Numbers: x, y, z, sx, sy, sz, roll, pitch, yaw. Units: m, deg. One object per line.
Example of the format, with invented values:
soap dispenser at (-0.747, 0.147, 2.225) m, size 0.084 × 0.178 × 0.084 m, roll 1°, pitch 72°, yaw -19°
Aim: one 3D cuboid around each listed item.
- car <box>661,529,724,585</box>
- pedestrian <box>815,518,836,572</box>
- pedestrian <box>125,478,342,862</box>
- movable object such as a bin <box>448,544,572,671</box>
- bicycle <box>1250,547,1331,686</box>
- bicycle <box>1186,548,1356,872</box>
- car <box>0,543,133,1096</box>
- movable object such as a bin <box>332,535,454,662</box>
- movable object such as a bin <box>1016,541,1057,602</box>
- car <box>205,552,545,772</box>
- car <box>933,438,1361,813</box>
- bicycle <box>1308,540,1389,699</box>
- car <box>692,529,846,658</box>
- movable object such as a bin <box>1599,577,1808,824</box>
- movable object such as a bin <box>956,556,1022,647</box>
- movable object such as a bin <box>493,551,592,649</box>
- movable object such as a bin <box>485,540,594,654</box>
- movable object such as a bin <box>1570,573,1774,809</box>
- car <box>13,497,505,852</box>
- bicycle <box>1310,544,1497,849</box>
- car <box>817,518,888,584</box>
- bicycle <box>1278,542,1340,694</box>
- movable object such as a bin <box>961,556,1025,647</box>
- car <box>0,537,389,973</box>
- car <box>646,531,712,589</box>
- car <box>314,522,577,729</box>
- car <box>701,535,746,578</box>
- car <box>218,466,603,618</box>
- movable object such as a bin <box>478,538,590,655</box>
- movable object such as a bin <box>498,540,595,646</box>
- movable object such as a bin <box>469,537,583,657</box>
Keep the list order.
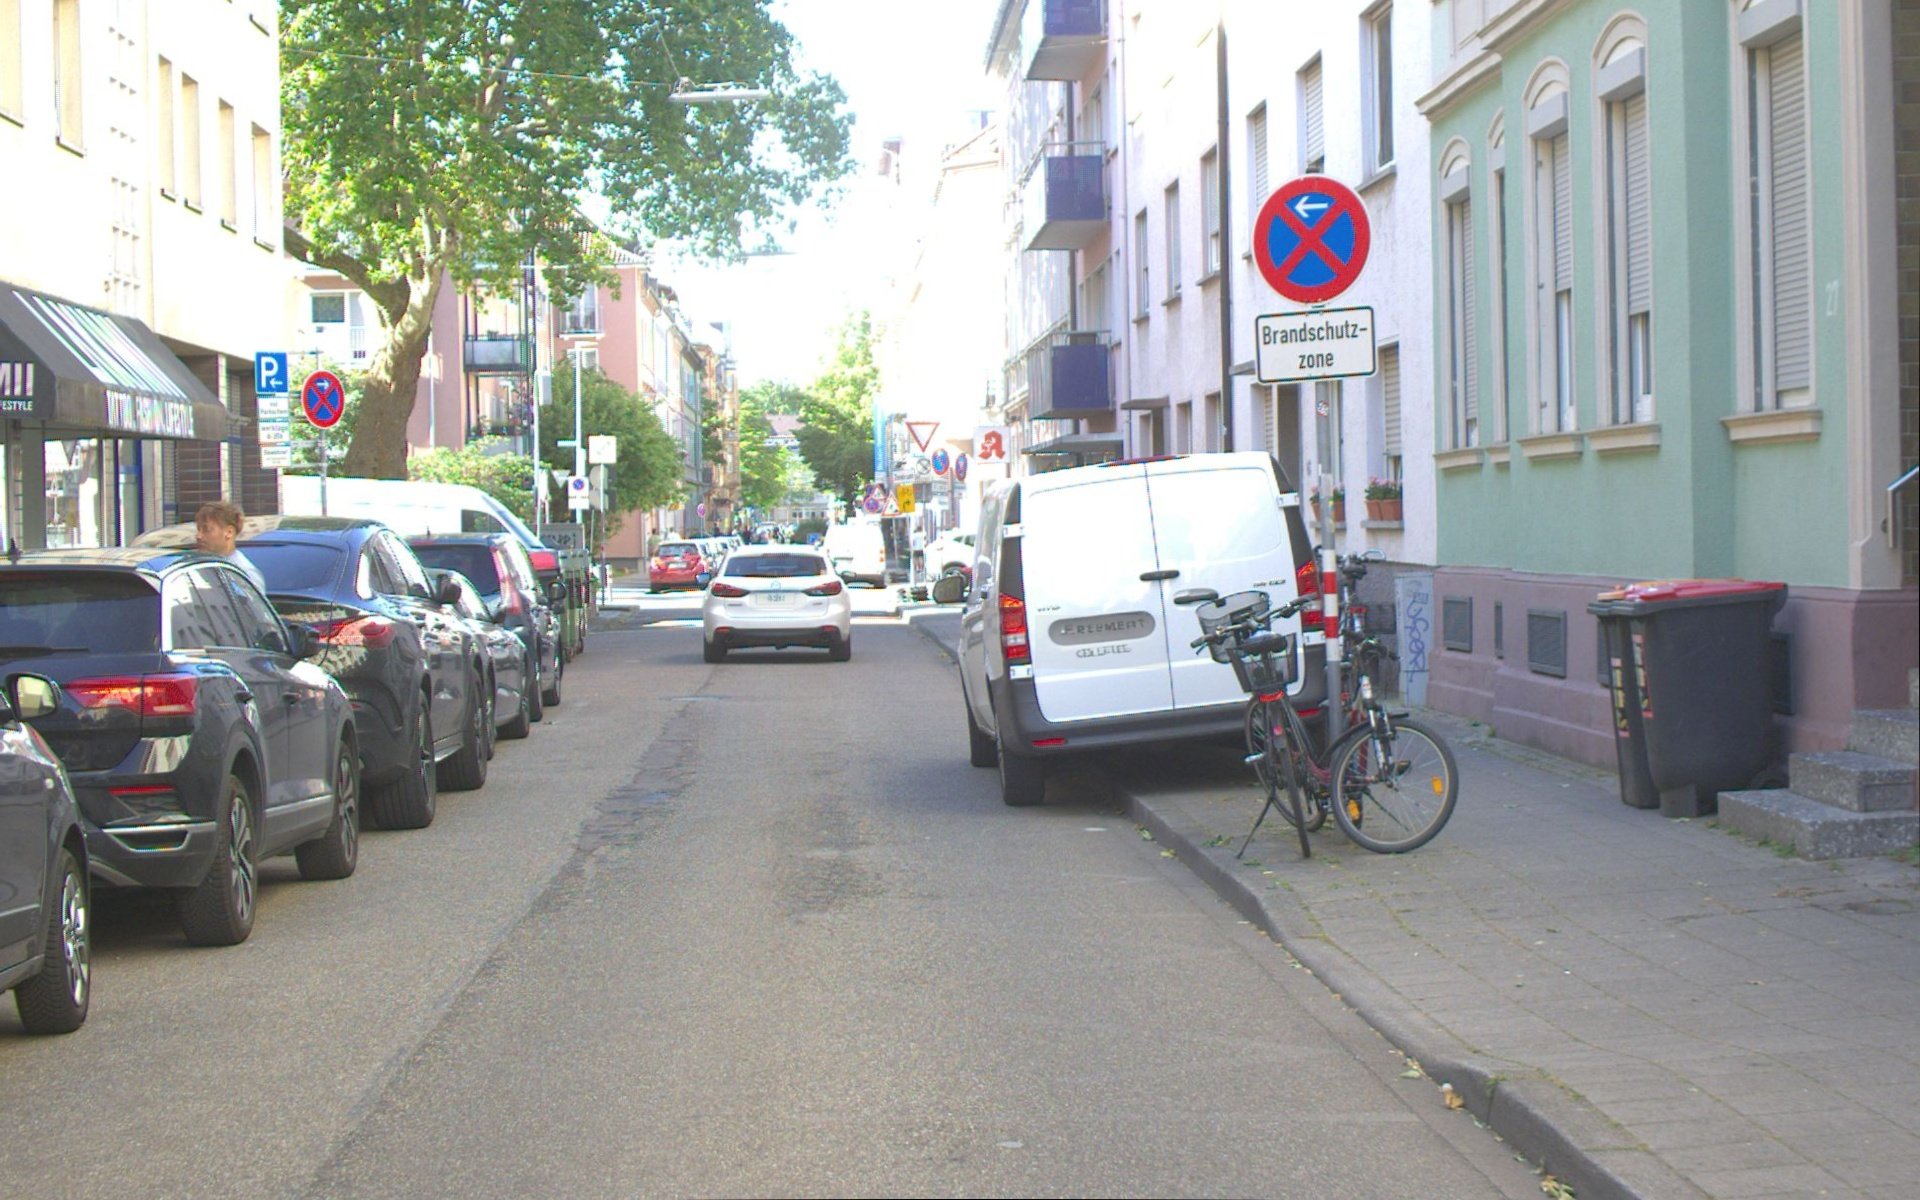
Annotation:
car at (-8.250, -1.335, 106.289) m, size 1.720 × 1.677 × 3.726 m, roll -1°, pitch 1°, yaw -2°
pedestrian at (-5.235, -2.146, 134.005) m, size 0.771 × 2.111 × 0.835 m, roll -1°, pitch 0°, yaw -1°
pedestrian at (-3.568, 0.331, 16.953) m, size 0.866 × 1.830 × 0.883 m, roll -1°, pitch 0°, yaw -2°
movable object such as a bin at (-5.395, 0.080, 41.339) m, size 1.319 × 1.445 × 1.187 m, roll -2°, pitch 0°, yaw -2°
bicycle at (2.837, 0.129, 29.647) m, size 0.568 × 1.149 × 1.868 m, roll -1°, pitch 0°, yaw 2°
bicycle at (1.375, 0.445, 15.493) m, size 0.575 × 1.316 × 2.199 m, roll -2°, pitch 1°, yaw 1°
car at (-3.530, 0.640, 9.680) m, size 1.615 × 1.548 × 3.978 m, roll -1°, pitch 1°, yaw -3°
movable object such as a bin at (-6.799, -0.023, 41.297) m, size 1.296 × 1.493 × 1.179 m, roll -1°, pitch 0°, yaw -2°
movable object such as a bin at (1.367, -0.516, 61.605) m, size 0.701 × 1.069 × 0.596 m, roll -1°, pitch 0°, yaw 0°
car at (-4.260, 0.400, 25.750) m, size 1.845 × 1.412 × 4.818 m, roll -3°, pitch 1°, yaw -2°
car at (0.995, 0.074, 21.441) m, size 1.983 × 1.877 × 5.600 m, roll -5°, pitch 1°, yaw -2°
bicycle at (3.067, 0.138, 27.227) m, size 0.405 × 1.202 × 2.159 m, roll -1°, pitch 0°, yaw 1°
car at (-2.393, -0.115, 43.259) m, size 1.823 × 1.509 × 3.824 m, roll -1°, pitch 1°, yaw -3°
movable object such as a bin at (3.391, 0.449, 15.733) m, size 0.797 × 1.092 × 0.642 m, roll -1°, pitch 0°, yaw 0°
movable object such as a bin at (0.356, 0.018, 42.097) m, size 0.768 × 1.083 × 0.693 m, roll -1°, pitch 0°, yaw -1°
movable object such as a bin at (-5.667, -0.006, 46.747) m, size 1.241 × 1.317 × 1.046 m, roll -1°, pitch 0°, yaw -2°
movable object such as a bin at (-5.576, -0.050, 45.657) m, size 1.334 × 1.486 × 1.082 m, roll -1°, pitch 0°, yaw -2°
movable object such as a bin at (3.387, 0.424, 16.405) m, size 0.812 × 1.084 × 0.674 m, roll -1°, pitch 0°, yaw 0°
car at (-3.883, 0.328, 19.958) m, size 1.936 × 1.730 × 5.143 m, roll -2°, pitch 1°, yaw -2°
bicycle at (2.014, 0.398, 15.835) m, size 0.575 × 1.266 × 2.199 m, roll -3°, pitch 1°, yaw 2°
car at (-3.275, -1.497, 104.063) m, size 1.942 × 1.941 × 4.079 m, roll 0°, pitch 1°, yaw -5°
bicycle at (2.893, 0.129, 28.558) m, size 0.438 × 1.202 × 2.266 m, roll -1°, pitch 0°, yaw 5°
movable object such as a bin at (0.392, 0.017, 41.385) m, size 0.732 × 1.077 × 0.703 m, roll -1°, pitch 0°, yaw -1°
car at (-3.619, 0.530, 14.446) m, size 1.713 × 1.526 × 4.367 m, roll -2°, pitch 1°, yaw -1°
car at (-8.211, -1.190, 100.689) m, size 1.769 × 1.583 × 3.727 m, roll -1°, pitch 2°, yaw -3°
car at (-4.565, 0.168, 31.121) m, size 1.782 × 1.661 × 4.671 m, roll -2°, pitch 1°, yaw -2°
car at (-9.119, -1.670, 132.897) m, size 1.572 × 1.580 × 3.611 m, roll -1°, pitch 1°, yaw -2°
car at (-10.141, -1.067, 63.841) m, size 6.739 × 2.546 × 2.146 m, roll 2°, pitch 0°, yaw 0°
movable object such as a bin at (-5.514, -0.047, 44.590) m, size 1.343 × 1.494 × 1.018 m, roll -1°, pitch 0°, yaw -2°
movable object such as a bin at (-5.743, -0.107, 47.843) m, size 1.300 × 1.446 × 1.118 m, roll -1°, pitch 0°, yaw -6°
movable object such as a bin at (-5.491, -0.043, 43.555) m, size 1.348 × 1.482 × 1.003 m, roll -1°, pitch 0°, yaw -2°
